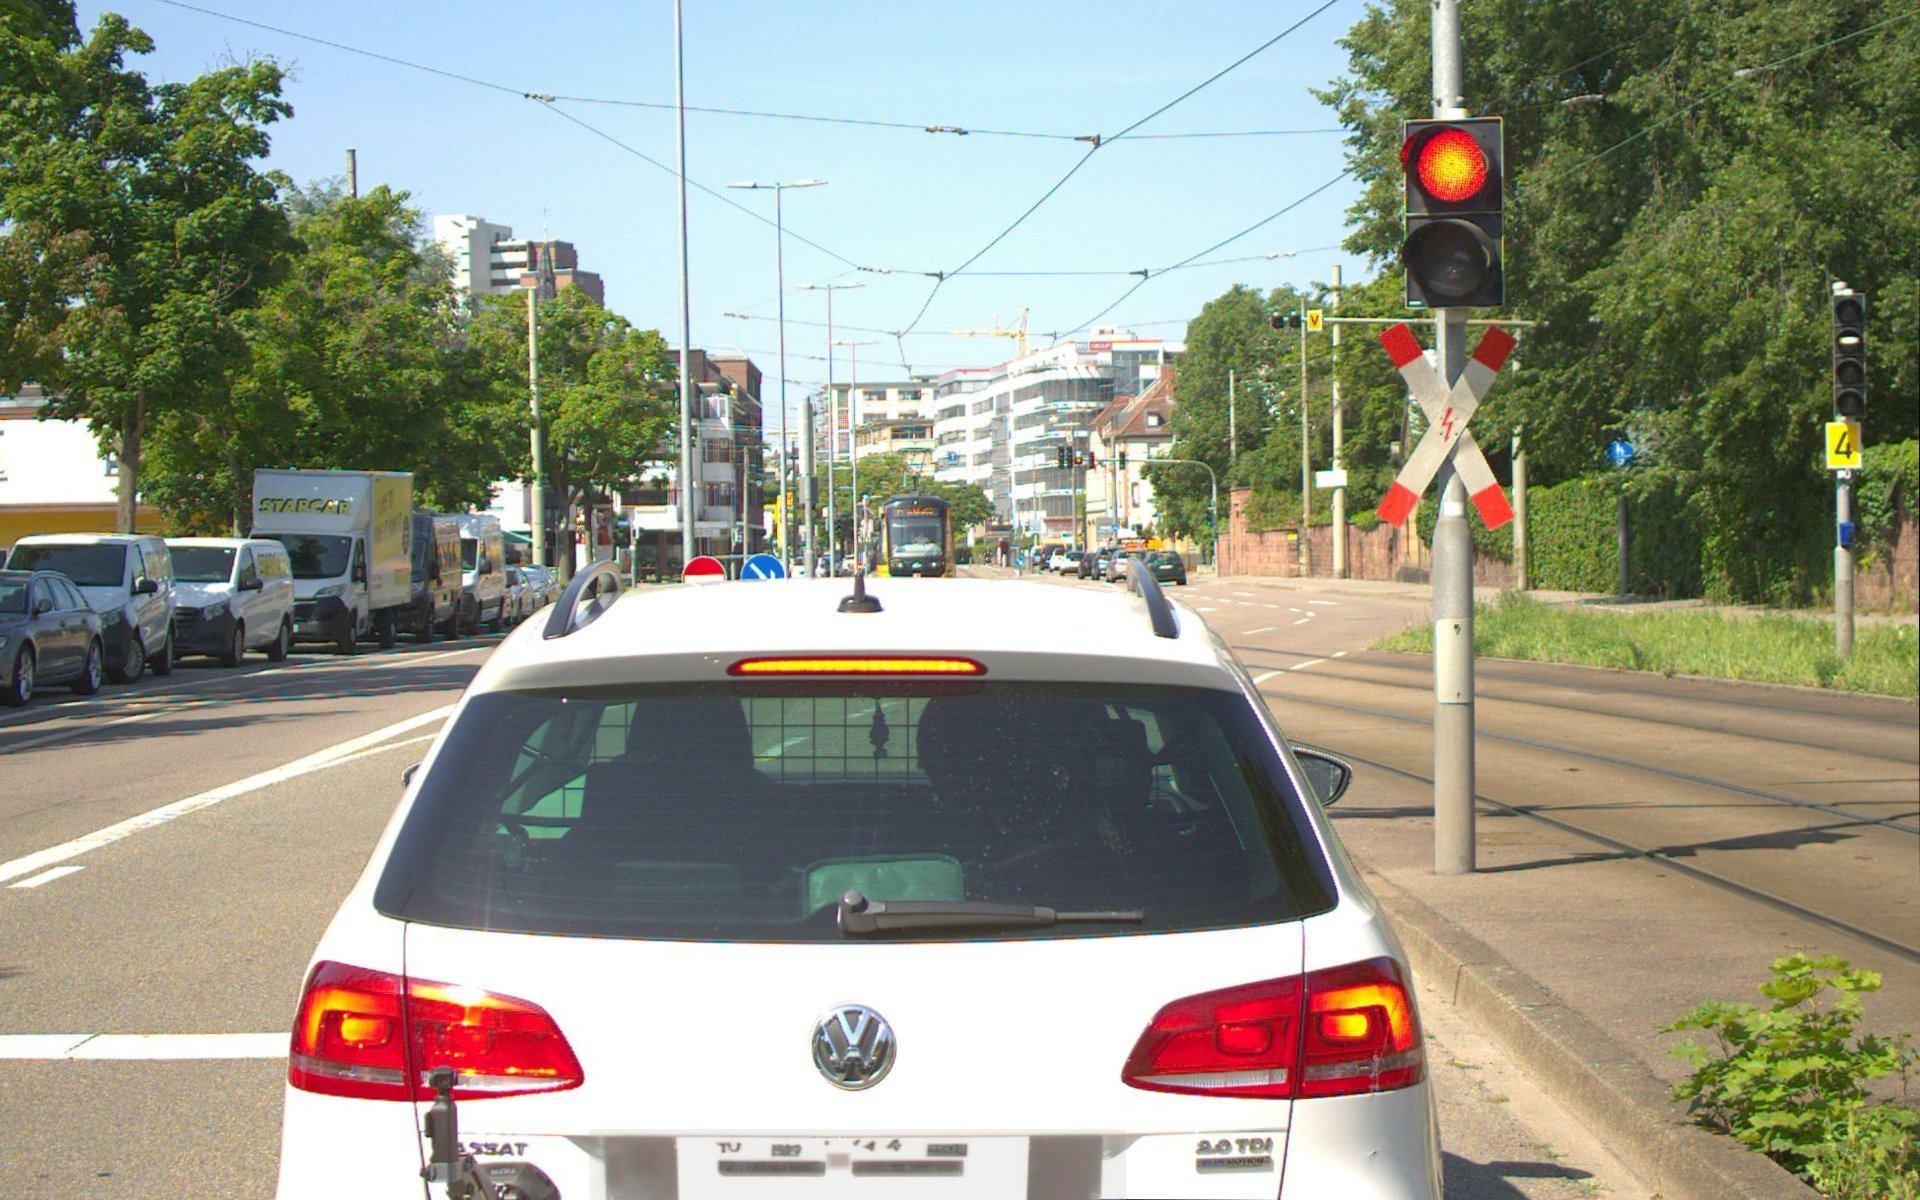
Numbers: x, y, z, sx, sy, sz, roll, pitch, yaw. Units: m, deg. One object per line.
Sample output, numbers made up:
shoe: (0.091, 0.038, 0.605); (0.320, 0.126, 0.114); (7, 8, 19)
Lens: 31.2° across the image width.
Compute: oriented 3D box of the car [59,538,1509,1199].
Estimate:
car: (-0.231, 0.628, 6.232); (1.762, 1.425, 4.000); (-1, 1, -1)

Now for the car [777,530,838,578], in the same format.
car: (-4.950, -1.509, 111.873); (1.705, 1.468, 4.589); (-2, 1, 1)

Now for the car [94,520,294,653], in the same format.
car: (-11.492, -0.249, 51.924); (1.863, 1.861, 5.414); (1, 1, -1)

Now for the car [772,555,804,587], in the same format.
car: (-10.353, -1.763, 207.195); (1.762, 1.889, 4.914); (1, 1, -1)

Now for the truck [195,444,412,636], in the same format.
truck: (-11.412, -1.059, 60.336); (2.421, 3.139, 6.997); (1, 1, 0)

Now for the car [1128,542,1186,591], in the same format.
car: (7.830, -1.369, 137.053); (1.863, 1.861, 5.062); (1, 1, -2)

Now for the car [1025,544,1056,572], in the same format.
car: (5.605, -2.944, 239.011); (1.863, 1.861, 5.062); (1, 1, -2)

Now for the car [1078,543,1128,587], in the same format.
car: (6.375, -1.571, 153.423); (1.863, 1.861, 5.062); (1, 1, -2)

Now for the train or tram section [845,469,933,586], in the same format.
train or tram section: (-2.452, -2.546, 120.782); (2.870, 3.842, 12.393); (-1, 1, -1)

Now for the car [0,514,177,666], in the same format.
car: (-11.581, -0.181, 45.263); (1.863, 1.861, 5.075); (1, 1, -6)

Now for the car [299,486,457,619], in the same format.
car: (-11.504, -0.961, 68.339); (2.123, 2.508, 5.733); (1, 1, 0)

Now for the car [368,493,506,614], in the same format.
car: (-11.466, -1.045, 75.775); (2.123, 2.508, 5.733); (1, 1, 0)

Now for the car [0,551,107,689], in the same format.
car: (-11.060, 0.178, 38.769); (1.863, 1.411, 4.280); (1, 1, -1)

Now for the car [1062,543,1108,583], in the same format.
car: (6.128, -1.834, 169.012); (1.863, 1.861, 5.062); (1, 1, -2)

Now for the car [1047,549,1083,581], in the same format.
car: (6.400, -2.160, 209.146); (1.863, 1.861, 5.062); (1, 1, -2)

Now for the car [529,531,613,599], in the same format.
car: (-11.130, -1.035, 98.620); (1.863, 1.861, 5.414); (1, 1, -1)

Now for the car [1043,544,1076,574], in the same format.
car: (6.534, -2.691, 225.560); (1.863, 1.861, 5.062); (1, 1, -2)

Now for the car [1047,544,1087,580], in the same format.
car: (5.756, -2.049, 185.656); (1.863, 1.861, 5.062); (1, 1, -2)

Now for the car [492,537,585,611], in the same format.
car: (-11.202, -0.716, 91.707); (1.863, 1.861, 5.414); (1, 1, -1)

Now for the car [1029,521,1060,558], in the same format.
car: (6.425, -4.623, 262.496); (2.056, 2.750, 5.632); (1, 1, -2)
